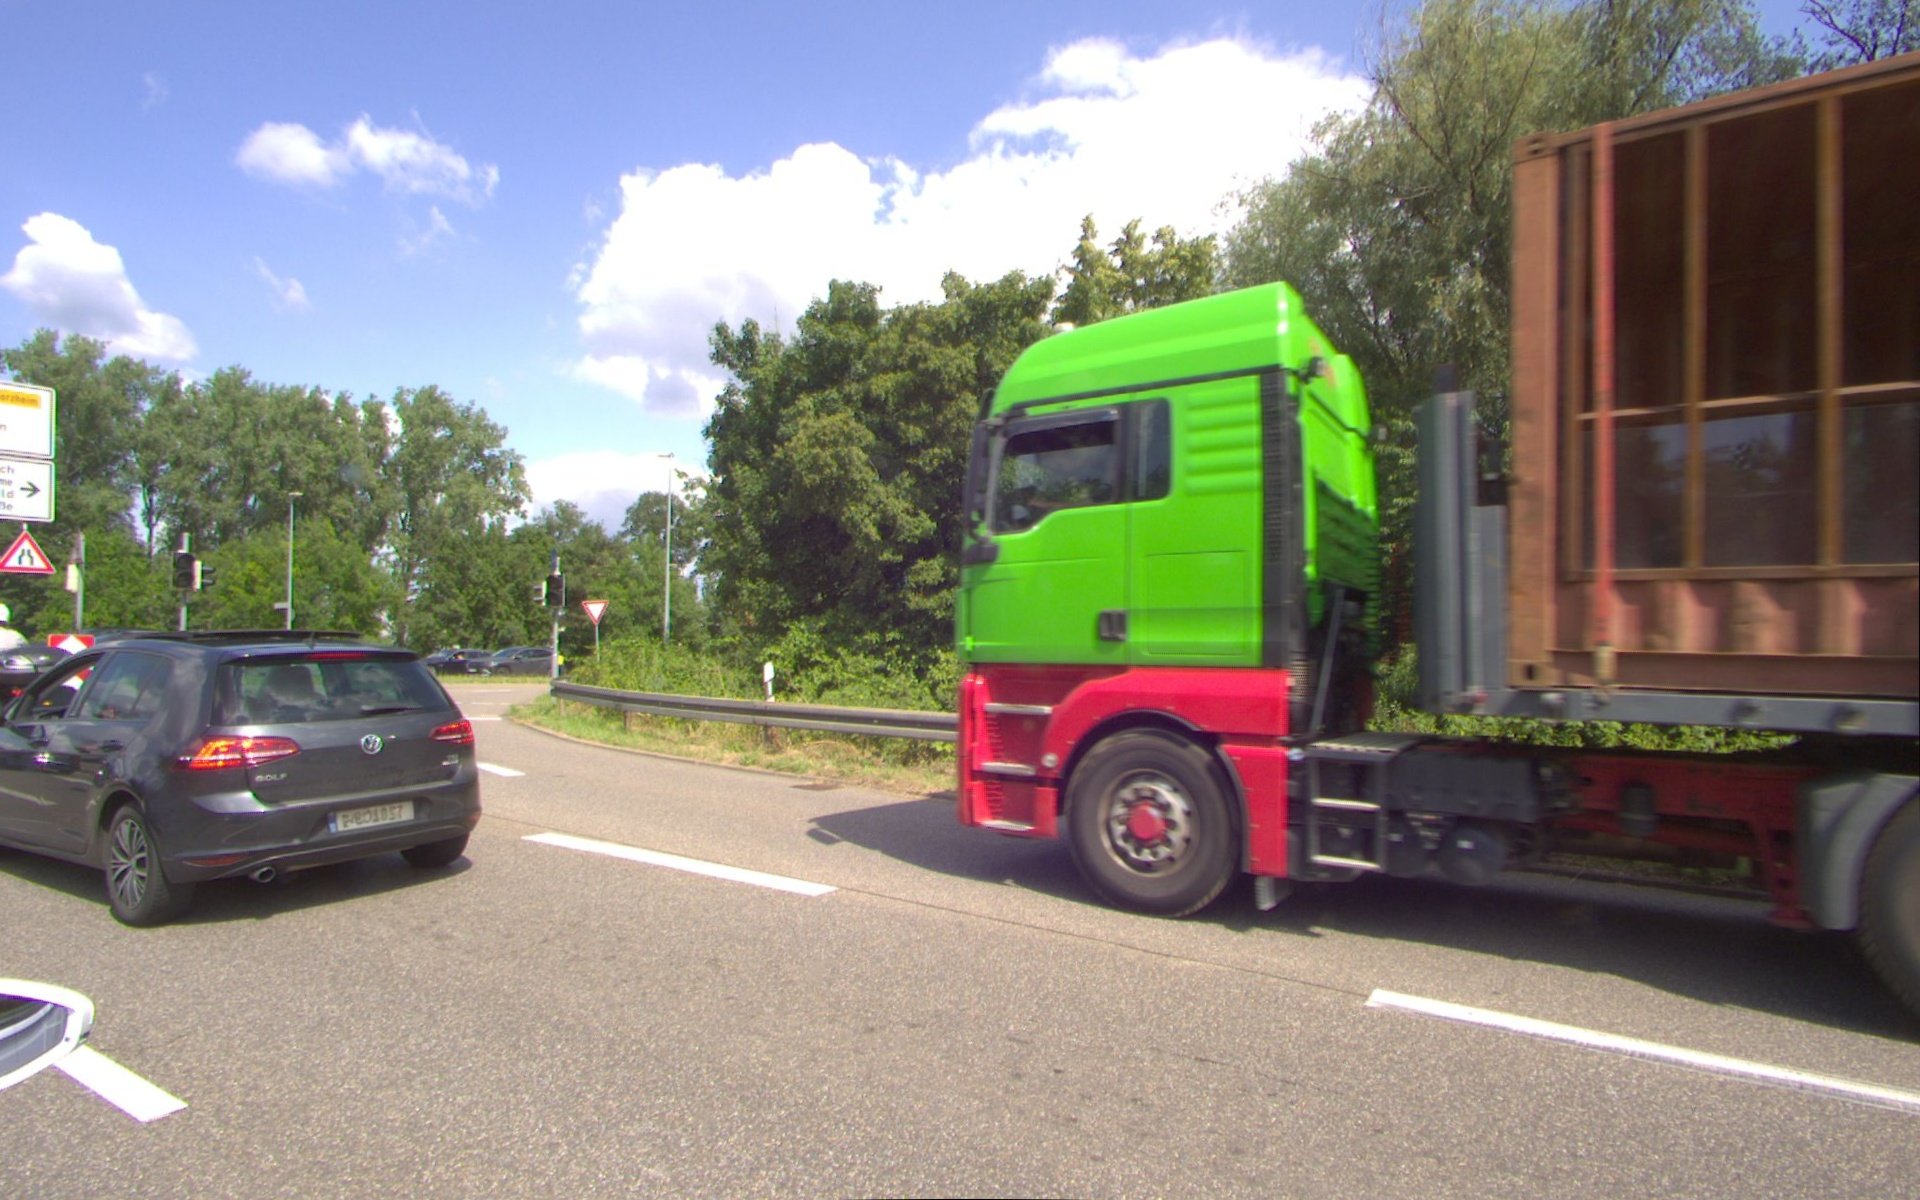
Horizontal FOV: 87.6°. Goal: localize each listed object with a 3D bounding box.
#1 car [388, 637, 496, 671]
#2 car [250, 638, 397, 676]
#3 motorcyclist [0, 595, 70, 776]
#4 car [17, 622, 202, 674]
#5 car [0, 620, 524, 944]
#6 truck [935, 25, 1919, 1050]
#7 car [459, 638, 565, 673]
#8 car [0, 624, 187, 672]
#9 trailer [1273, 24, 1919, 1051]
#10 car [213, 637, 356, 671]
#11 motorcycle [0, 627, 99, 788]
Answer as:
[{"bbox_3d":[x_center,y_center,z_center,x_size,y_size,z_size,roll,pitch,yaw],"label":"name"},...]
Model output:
[{"bbox_3d":[-24.052,2.502,46.655,1.710,1.495,4.222,0,-3,29],"label":"car"},{"bbox_3d":[-24.205,2.149,38.264,1.710,1.337,4.471,0,-3,29],"label":"car"},{"bbox_3d":[-9.438,0.815,9.775,0.881,1.722,0.864,0,-2,32],"label":"motorcyclist"},{"bbox_3d":[-27.556,1.559,32.588,1.711,1.564,4.264,0,-3,31],"label":"car"},{"bbox_3d":[-4.832,0.901,6.429,3.987,1.495,1.729,-1,-3,31],"label":"car"},{"bbox_3d":[3.070,-0.168,5.824,5.979,3.941,2.580,-1,-4,35],"label":"truck"},{"bbox_3d":[-20.328,2.536,45.578,1.710,1.495,4.222,0,-3,29],"label":"car"},{"bbox_3d":[-30.412,1.692,35.183,1.711,1.564,4.842,0,-3,31],"label":"car"},{"bbox_3d":[8.246,-0.240,2.203,14.305,3.941,2.580,-1,-4,35],"label":"trailer"},{"bbox_3d":[-27.298,2.187,40.633,1.710,1.297,4.491,0,-3,29],"label":"car"},{"bbox_3d":[-9.379,0.978,9.736,2.336,1.406,0.864,0,-2,32],"label":"motorcycle"}]
